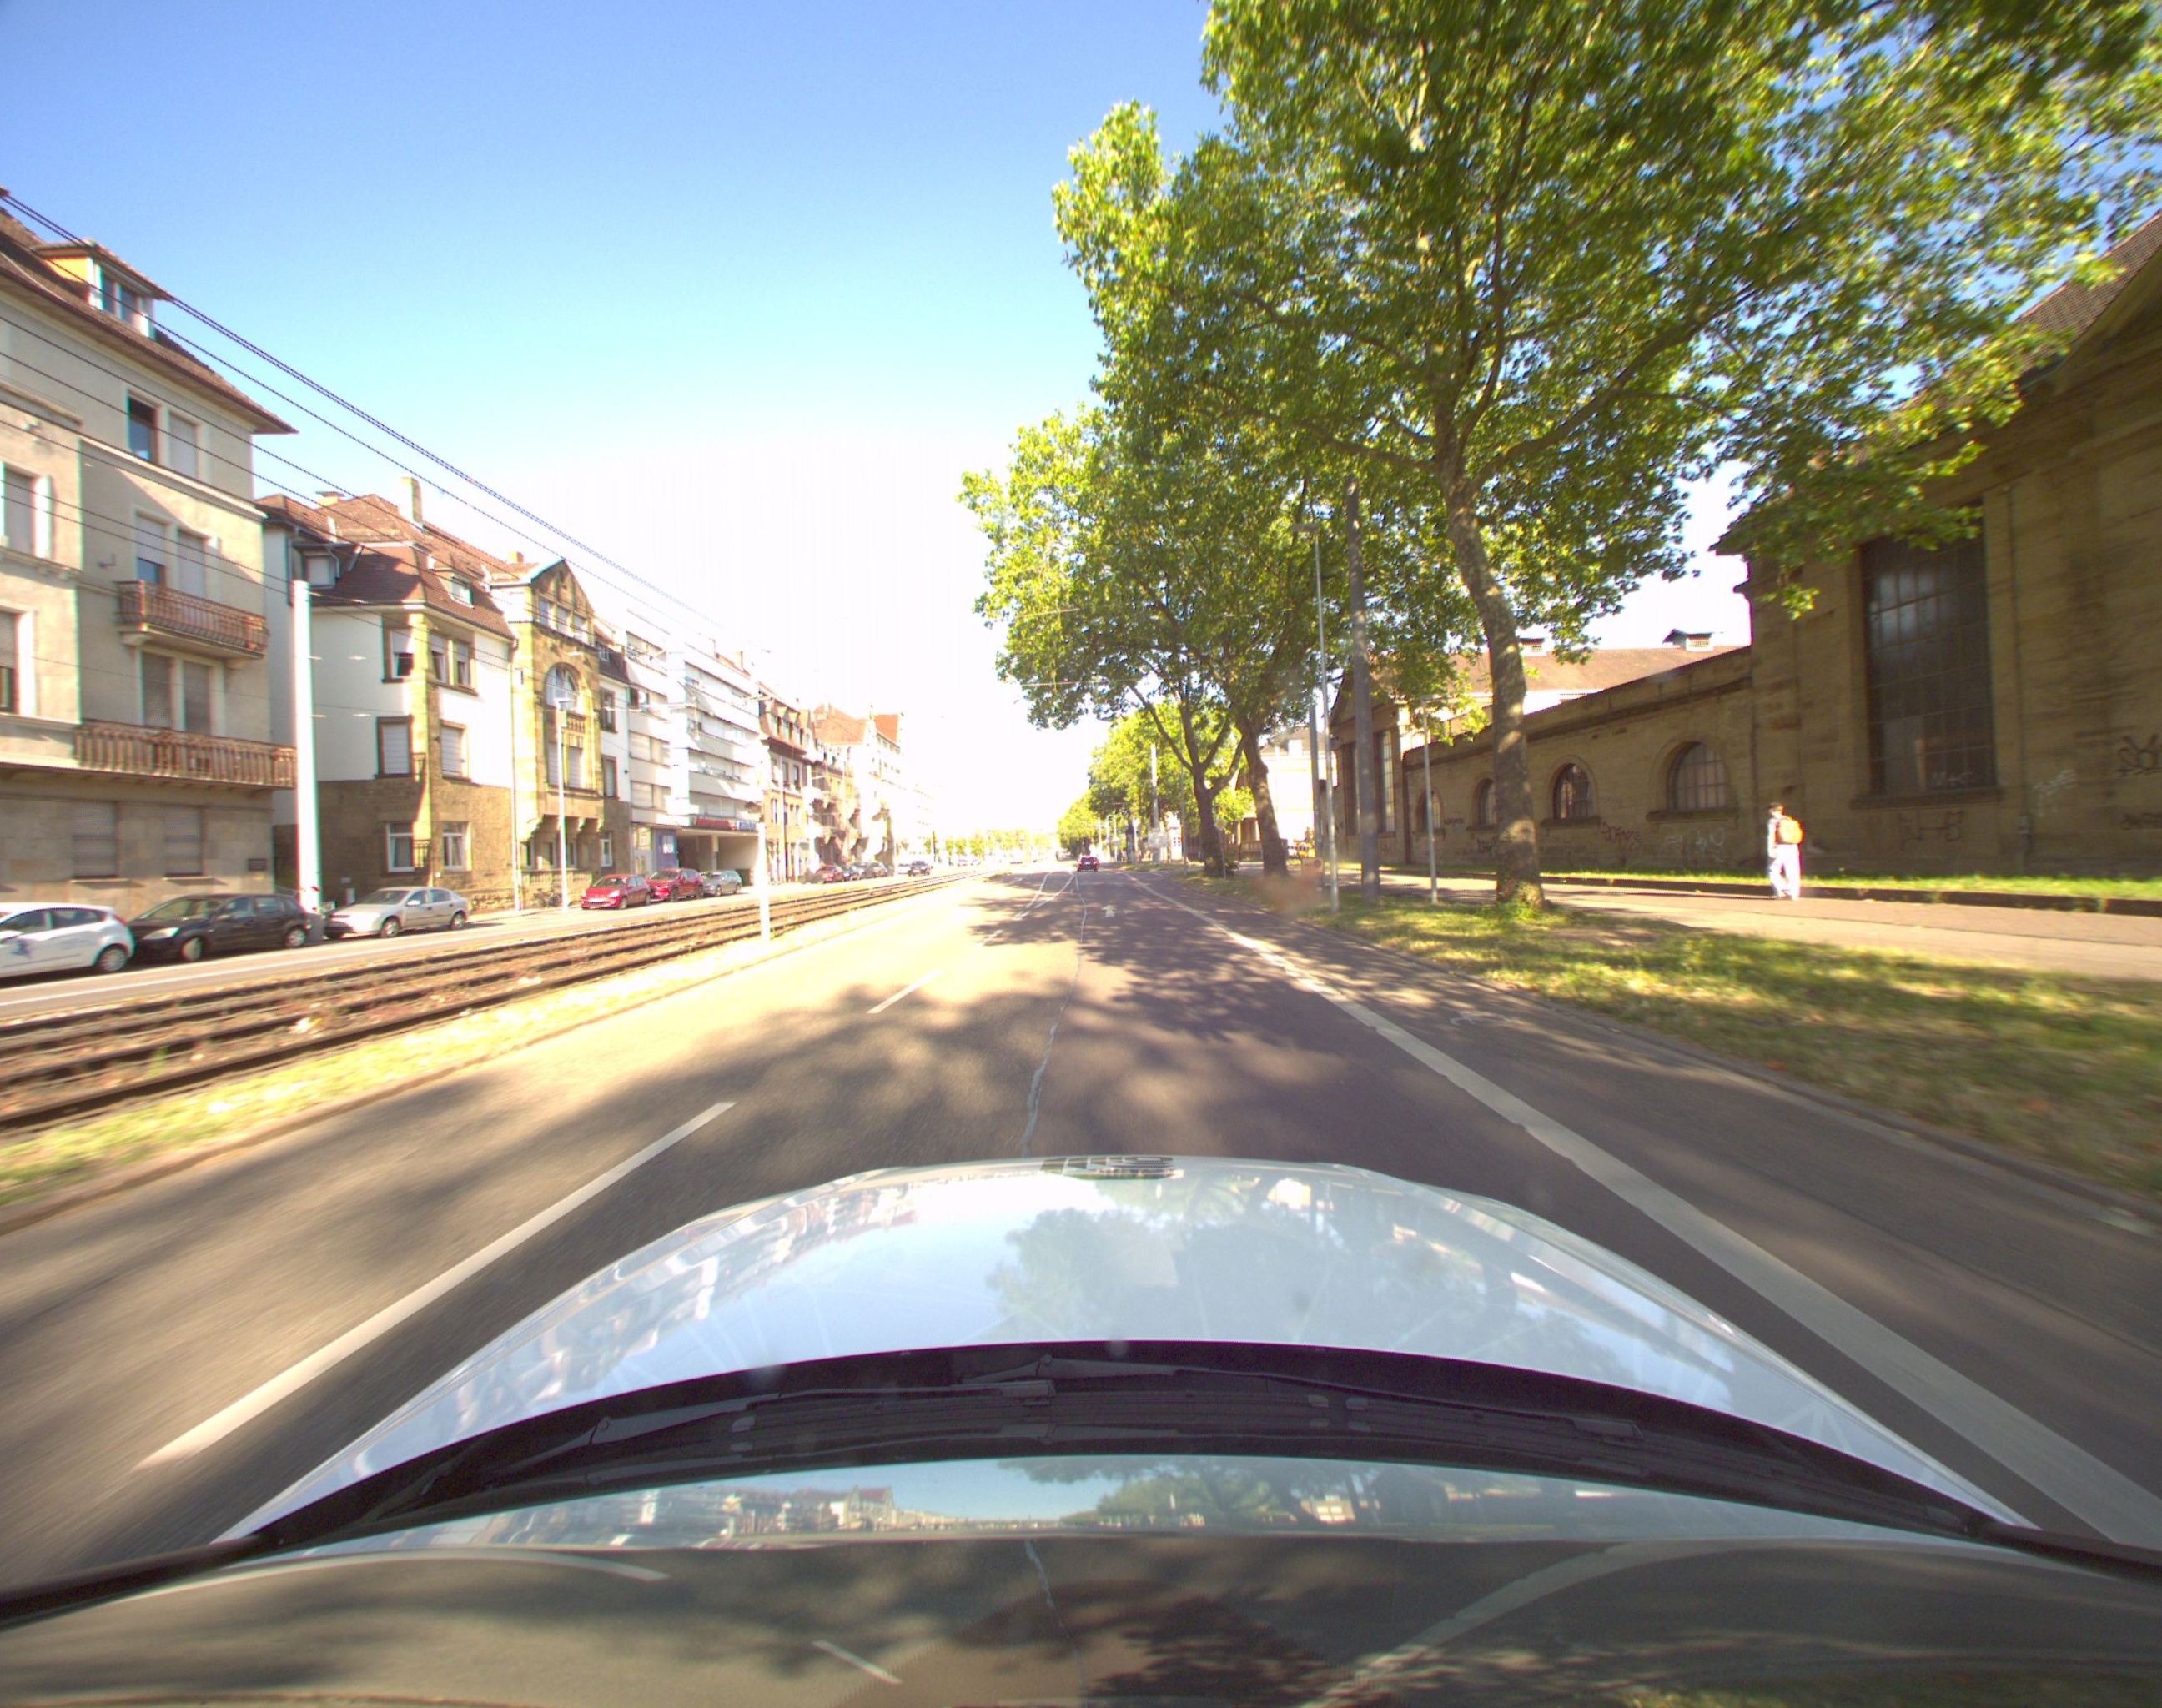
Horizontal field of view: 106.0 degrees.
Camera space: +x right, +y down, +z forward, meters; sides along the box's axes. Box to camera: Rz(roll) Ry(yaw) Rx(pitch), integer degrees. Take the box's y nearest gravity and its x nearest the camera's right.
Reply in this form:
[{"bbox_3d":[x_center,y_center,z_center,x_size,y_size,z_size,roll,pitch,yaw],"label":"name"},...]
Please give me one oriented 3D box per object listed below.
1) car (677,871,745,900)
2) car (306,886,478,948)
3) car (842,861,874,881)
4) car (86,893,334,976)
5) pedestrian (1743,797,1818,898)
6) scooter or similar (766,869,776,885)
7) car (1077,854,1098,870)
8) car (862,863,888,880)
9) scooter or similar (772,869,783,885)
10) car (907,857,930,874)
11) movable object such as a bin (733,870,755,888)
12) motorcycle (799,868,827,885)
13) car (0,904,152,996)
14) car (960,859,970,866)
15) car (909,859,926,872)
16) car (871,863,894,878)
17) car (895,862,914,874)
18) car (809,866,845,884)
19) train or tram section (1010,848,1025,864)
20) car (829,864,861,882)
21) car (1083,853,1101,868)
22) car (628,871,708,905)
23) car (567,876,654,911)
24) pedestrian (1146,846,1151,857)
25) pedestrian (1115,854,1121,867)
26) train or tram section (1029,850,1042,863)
[{"bbox_3d":[-21.139,1.754,46.698,1.828,1.391,4.678,-2,0,-2],"label":"car"},{"bbox_3d":[-20.538,1.808,24.538,1.630,1.469,4.157,-1,1,-1],"label":"car"},{"bbox_3d":[-21.706,1.639,79.401,1.787,1.754,4.456,0,0,2],"label":"car"},{"bbox_3d":[-20.405,1.798,19.387,1.633,1.469,4.151,-2,0,-6],"label":"car"},{"bbox_3d":[12.330,-0.109,14.368,0.607,1.681,0.635,-7,0,-4],"label":"pedestrian"},{"bbox_3d":[-24.796,1.846,65.126,0.390,1.205,1.200,0,0,0],"label":"scooter or similar"},{"bbox_3d":[0.609,0.742,78.251,1.828,1.391,4.156,-2,0,-2],"label":"car"},{"bbox_3d":[-21.613,1.776,85.450,1.682,1.652,4.197,0,0,-1],"label":"car"},{"bbox_3d":[-24.232,1.848,65.072,0.390,1.205,1.200,0,0,0],"label":"scooter or similar"},{"bbox_3d":[-16.584,1.143,83.320,1.632,1.601,4.154,-4,0,-3],"label":"car"},{"bbox_3d":[-26.243,1.961,63.461,1.410,1.371,0.633,-2,0,-8],"label":"movable object such as a bin"},{"bbox_3d":[-21.723,1.807,66.032,2.073,1.327,0.835,0,0,-17],"label":"motorcycle"},{"bbox_3d":[-19.921,1.779,14.902,1.634,1.469,3.971,-1,0,-9],"label":"car"},{"bbox_3d":[-25.662,1.852,180.081,1.790,1.510,3.995,-3,0,-4],"label":"car"},{"bbox_3d":[-22.856,1.585,113.929,1.790,1.719,4.181,0,0,-3],"label":"car"},{"bbox_3d":[-22.052,1.821,90.599,1.682,1.652,4.197,0,0,-1],"label":"car"},{"bbox_3d":[-22.238,1.750,102.693,1.792,1.510,3.992,0,0,-6],"label":"car"},{"bbox_3d":[-21.585,1.757,69.394,1.790,1.460,4.263,0,0,-2],"label":"car"},{"bbox_3d":[-14.928,0.444,190.869,2.817,3.450,9.059,-3,0,-1],"label":"train or tram section"},{"bbox_3d":[-21.473,1.733,74.154,1.789,1.510,3.998,0,0,-1],"label":"car"},{"bbox_3d":[1.142,0.673,88.877,1.789,1.510,3.999,-3,0,-1],"label":"car"},{"bbox_3d":[-20.941,1.691,41.533,1.827,1.558,4.352,-1,0,0],"label":"car"},{"bbox_3d":[-20.814,1.710,36.209,1.831,1.391,4.027,0,0,-6],"label":"car"},{"bbox_3d":[10.383,-0.408,125.060,0.584,1.728,0.652,-1,0,13],"label":"pedestrian"},{"bbox_3d":[4.984,0.874,109.690,0.584,1.728,0.652,-1,0,11],"label":"pedestrian"},{"bbox_3d":[-12.455,0.662,222.258,2.816,3.450,9.062,-3,0,0],"label":"train or tram section"}]
